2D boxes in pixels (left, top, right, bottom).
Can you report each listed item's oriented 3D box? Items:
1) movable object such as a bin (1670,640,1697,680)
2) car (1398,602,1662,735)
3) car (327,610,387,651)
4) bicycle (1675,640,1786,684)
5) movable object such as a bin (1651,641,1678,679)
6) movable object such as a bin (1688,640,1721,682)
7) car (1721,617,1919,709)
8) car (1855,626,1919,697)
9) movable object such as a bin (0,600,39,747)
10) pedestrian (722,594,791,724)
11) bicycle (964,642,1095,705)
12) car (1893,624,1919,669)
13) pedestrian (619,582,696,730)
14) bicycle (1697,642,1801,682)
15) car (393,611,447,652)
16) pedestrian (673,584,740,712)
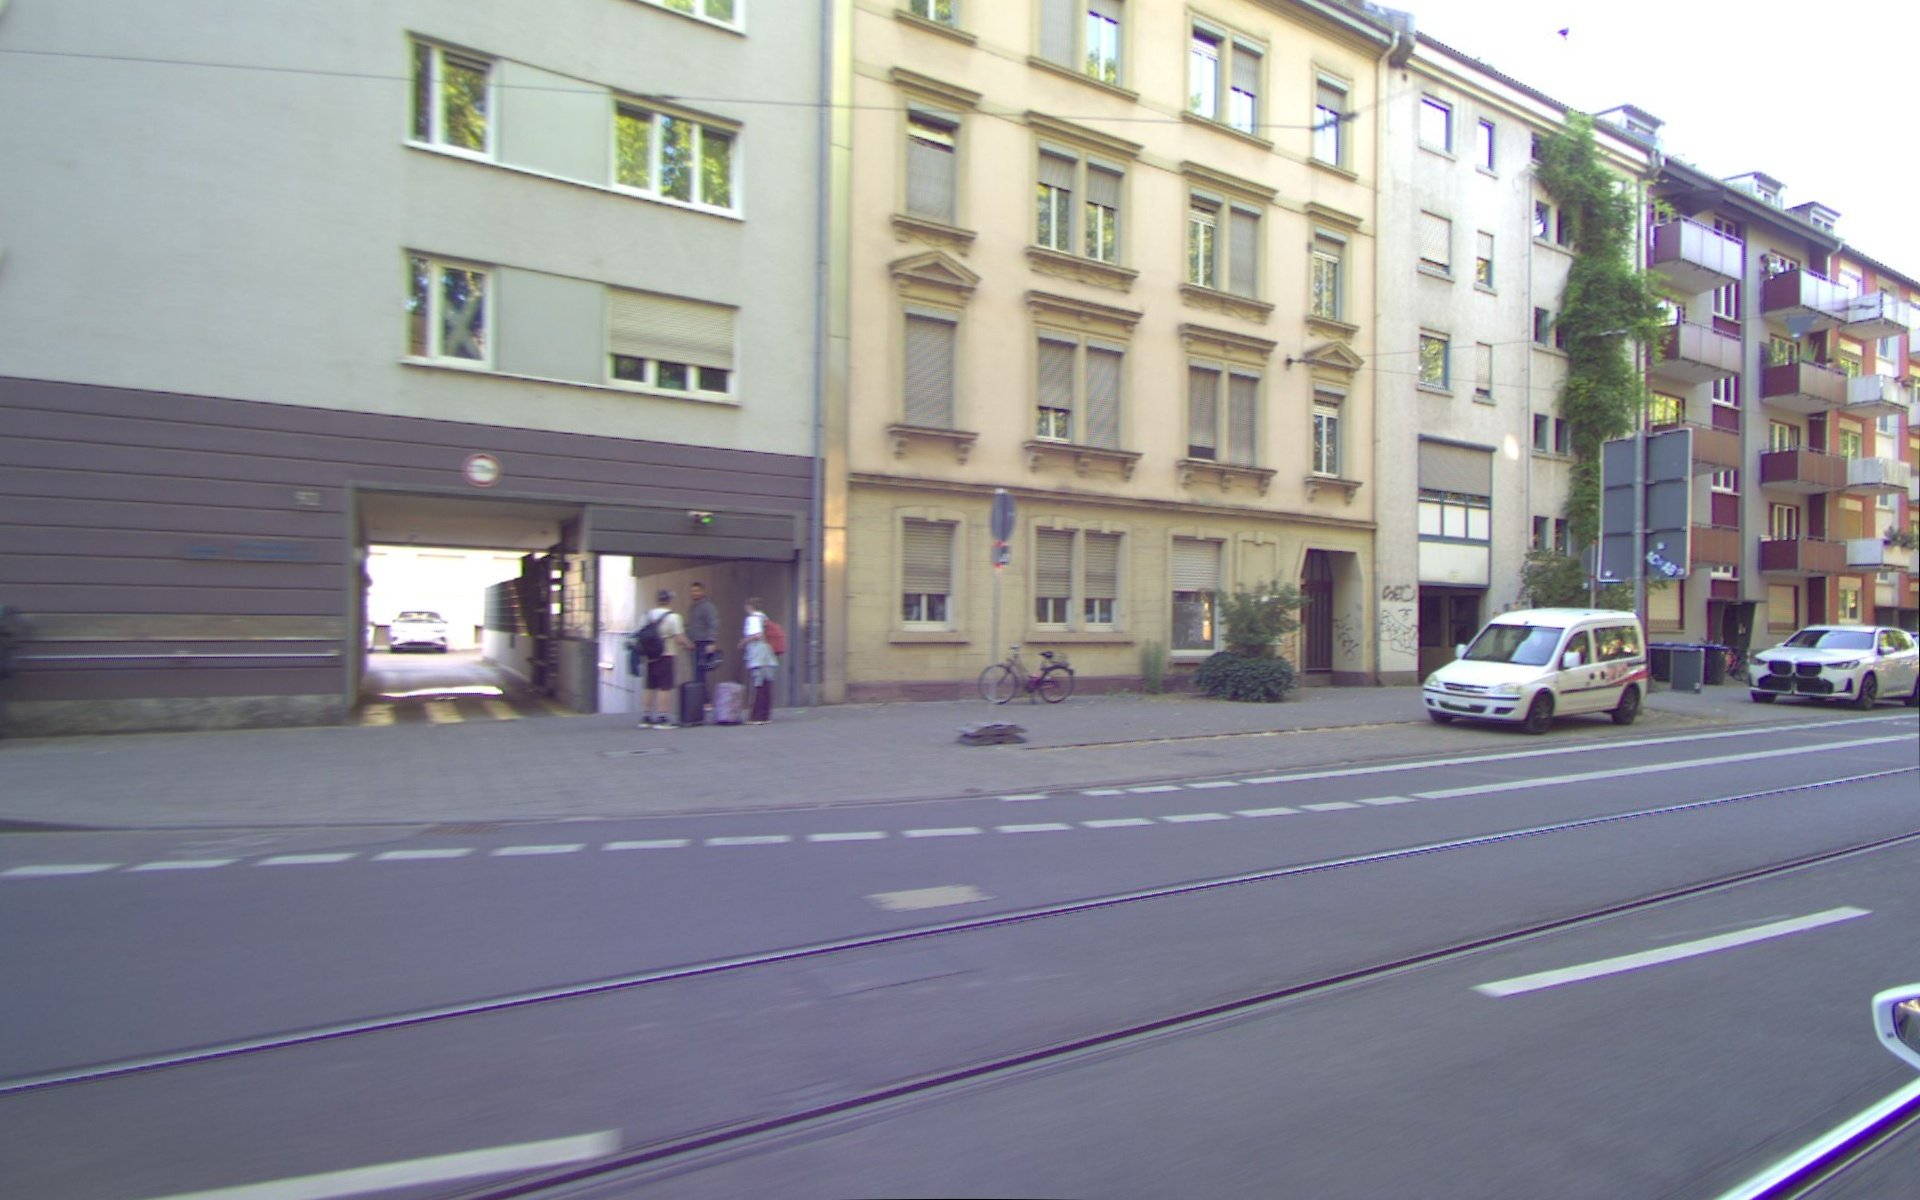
[{"bbox_3d":[20.101,1.662,27.920,0.486,1.069,0.459,1,-1,-30],"label":"movable object such as a bin"},{"bbox_3d":[8.990,0.975,15.743,4.423,1.794,1.778,1,0,-34],"label":"car"},{"bbox_3d":[-21.747,1.076,36.315,1.767,1.417,3.570,1,-1,-30],"label":"car"},{"bbox_3d":[22.061,1.749,28.819,0.691,1.076,2.436,1,0,-32],"label":"bicycle"},{"bbox_3d":[19.851,1.687,28.311,0.486,1.069,0.459,1,-1,-30],"label":"movable object such as a bin"},{"bbox_3d":[20.368,1.653,27.478,0.492,1.114,0.576,1,-1,-30],"label":"movable object such as a bin"},{"bbox_3d":[18.202,1.280,21.049,4.827,1.670,1.942,2,0,-31],"label":"car"},{"bbox_3d":[23.061,1.451,23.825,3.735,1.592,1.619,2,-2,-29],"label":"car"},{"bbox_3d":[-10.277,0.728,10.184,1.198,1.470,1.050,1,-1,-34],"label":"movable object such as a bin"},{"bbox_3d":[-2.723,0.763,13.416,0.679,1.654,0.723,1,1,-31],"label":"pedestrian"},{"bbox_3d":[1.161,1.202,16.766,2.105,0.984,0.646,1,0,-20],"label":"bicycle"},{"bbox_3d":[48.608,2.343,50.229,1.965,2.151,4.713,1,-1,32],"label":"car"},{"bbox_3d":[-3.874,0.689,12.832,0.727,1.808,0.860,1,1,-31],"label":"pedestrian"},{"bbox_3d":[23.040,1.797,29.394,0.691,1.006,2.276,1,1,-32],"label":"bicycle"},{"bbox_3d":[-19.960,1.127,37.086,1.657,1.417,3.570,1,-1,-30],"label":"car"},{"bbox_3d":[-3.813,0.690,15.067,0.720,1.838,0.958,1,1,-29],"label":"pedestrian"}]
